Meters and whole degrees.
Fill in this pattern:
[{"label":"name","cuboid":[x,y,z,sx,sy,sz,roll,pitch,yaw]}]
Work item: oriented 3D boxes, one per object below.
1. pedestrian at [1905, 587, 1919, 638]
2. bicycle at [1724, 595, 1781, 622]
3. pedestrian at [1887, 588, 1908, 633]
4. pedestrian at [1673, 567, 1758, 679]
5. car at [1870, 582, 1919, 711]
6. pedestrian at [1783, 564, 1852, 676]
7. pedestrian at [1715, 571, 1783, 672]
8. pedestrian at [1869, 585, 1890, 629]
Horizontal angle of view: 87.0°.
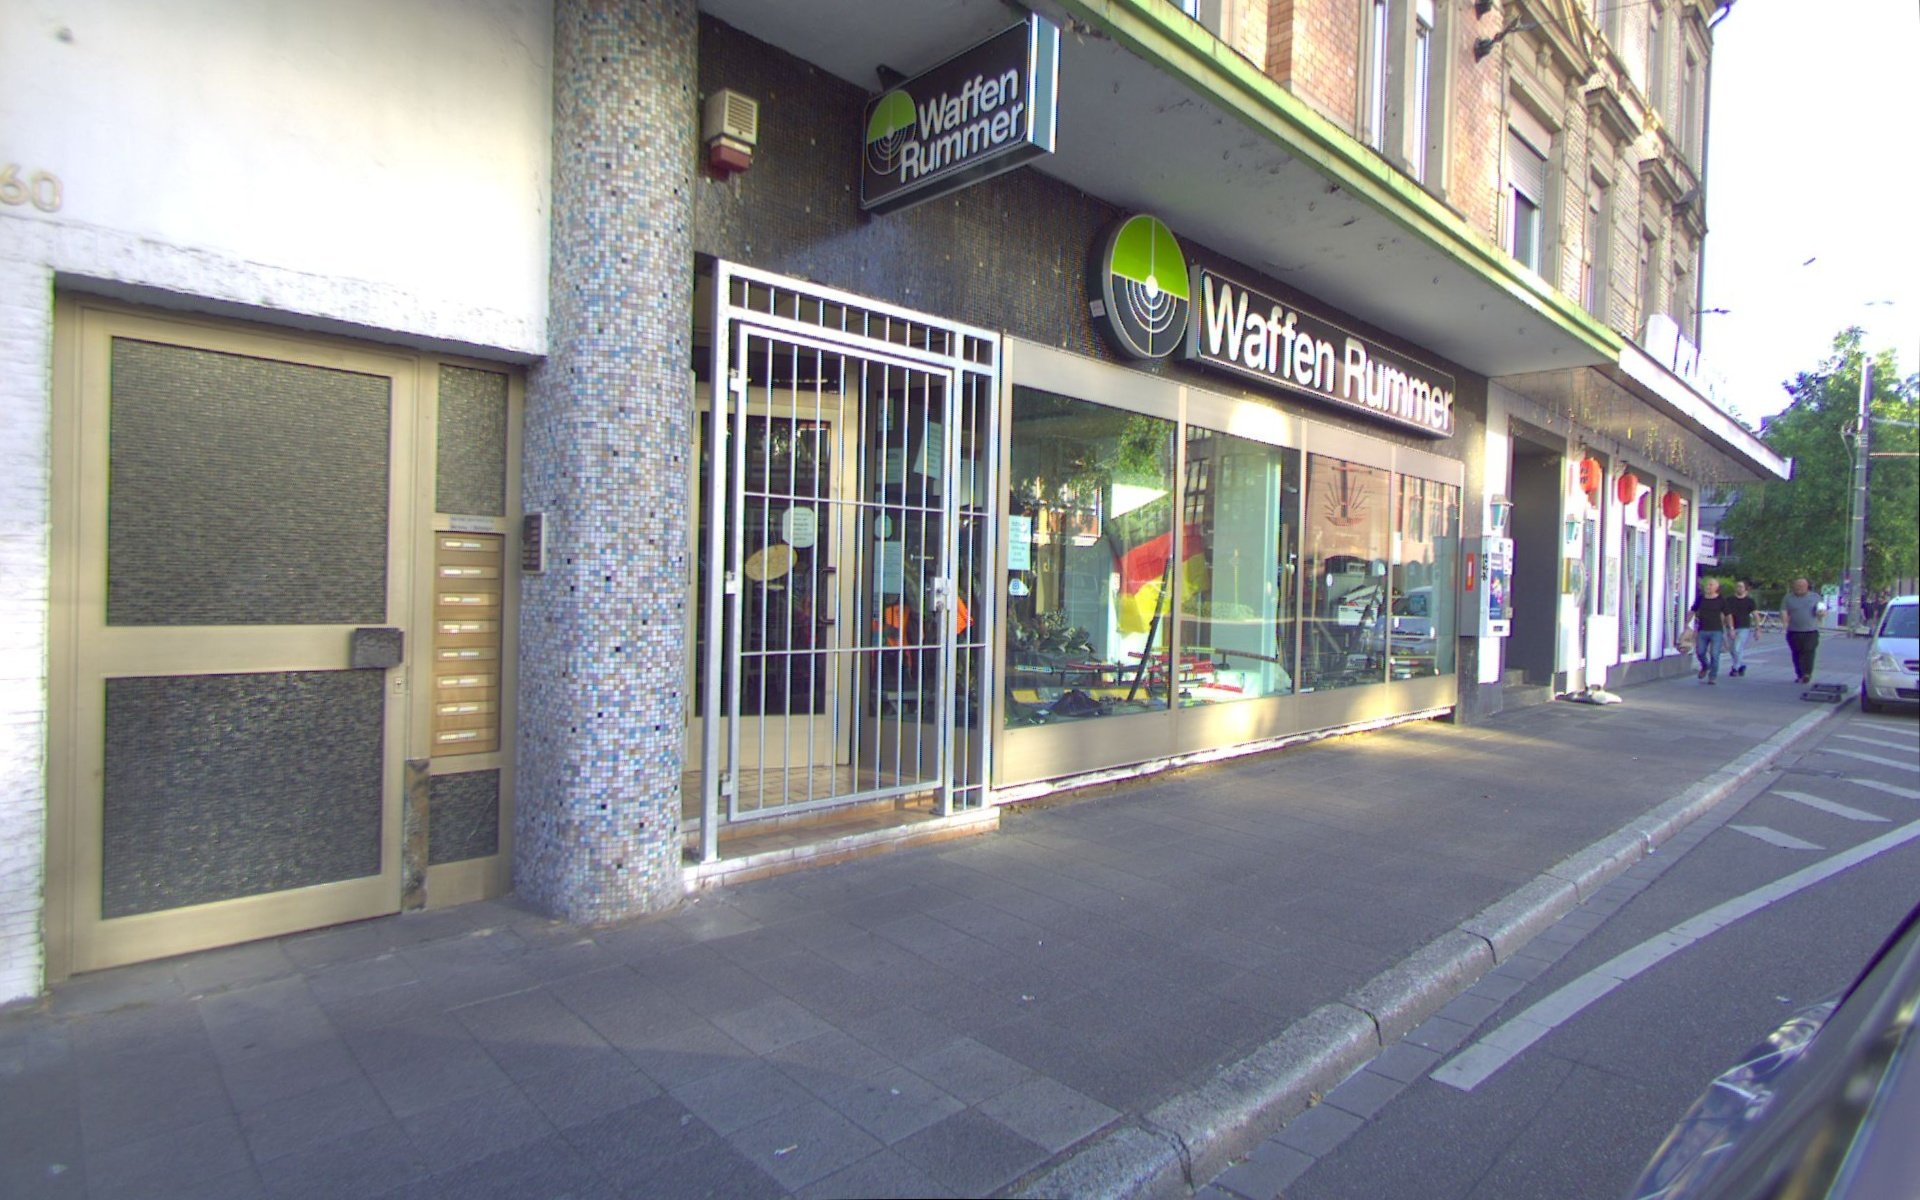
[{"label":"pedestrian","cuboid":[33.864,0.434,35.638,0.930,1.759,0.788,0,1,-44]},{"label":"bicycle","cuboid":[34.222,0.351,43.707,0.461,1.109,1.882,0,2,-45]},{"label":"pedestrian","cuboid":[37.116,0.422,40.065,0.430,1.734,0.493,0,3,-44]},{"label":"pedestrian","cuboid":[12.557,0.354,16.815,0.901,1.734,1.016,5,4,45]},{"label":"car","cuboid":[13.771,0.590,13.953,1.638,1.635,3.881,1,1,45]},{"label":"pedestrian","cuboid":[15.397,0.341,18.164,1.016,1.922,0.794,0,2,-44]},{"label":"pedestrian","cuboid":[14.533,0.366,18.642,1.016,1.778,0.811,0,2,-44]},{"label":"pedestrian","cuboid":[37.058,0.265,40.797,0.430,1.734,0.493,0,3,-44]}]
